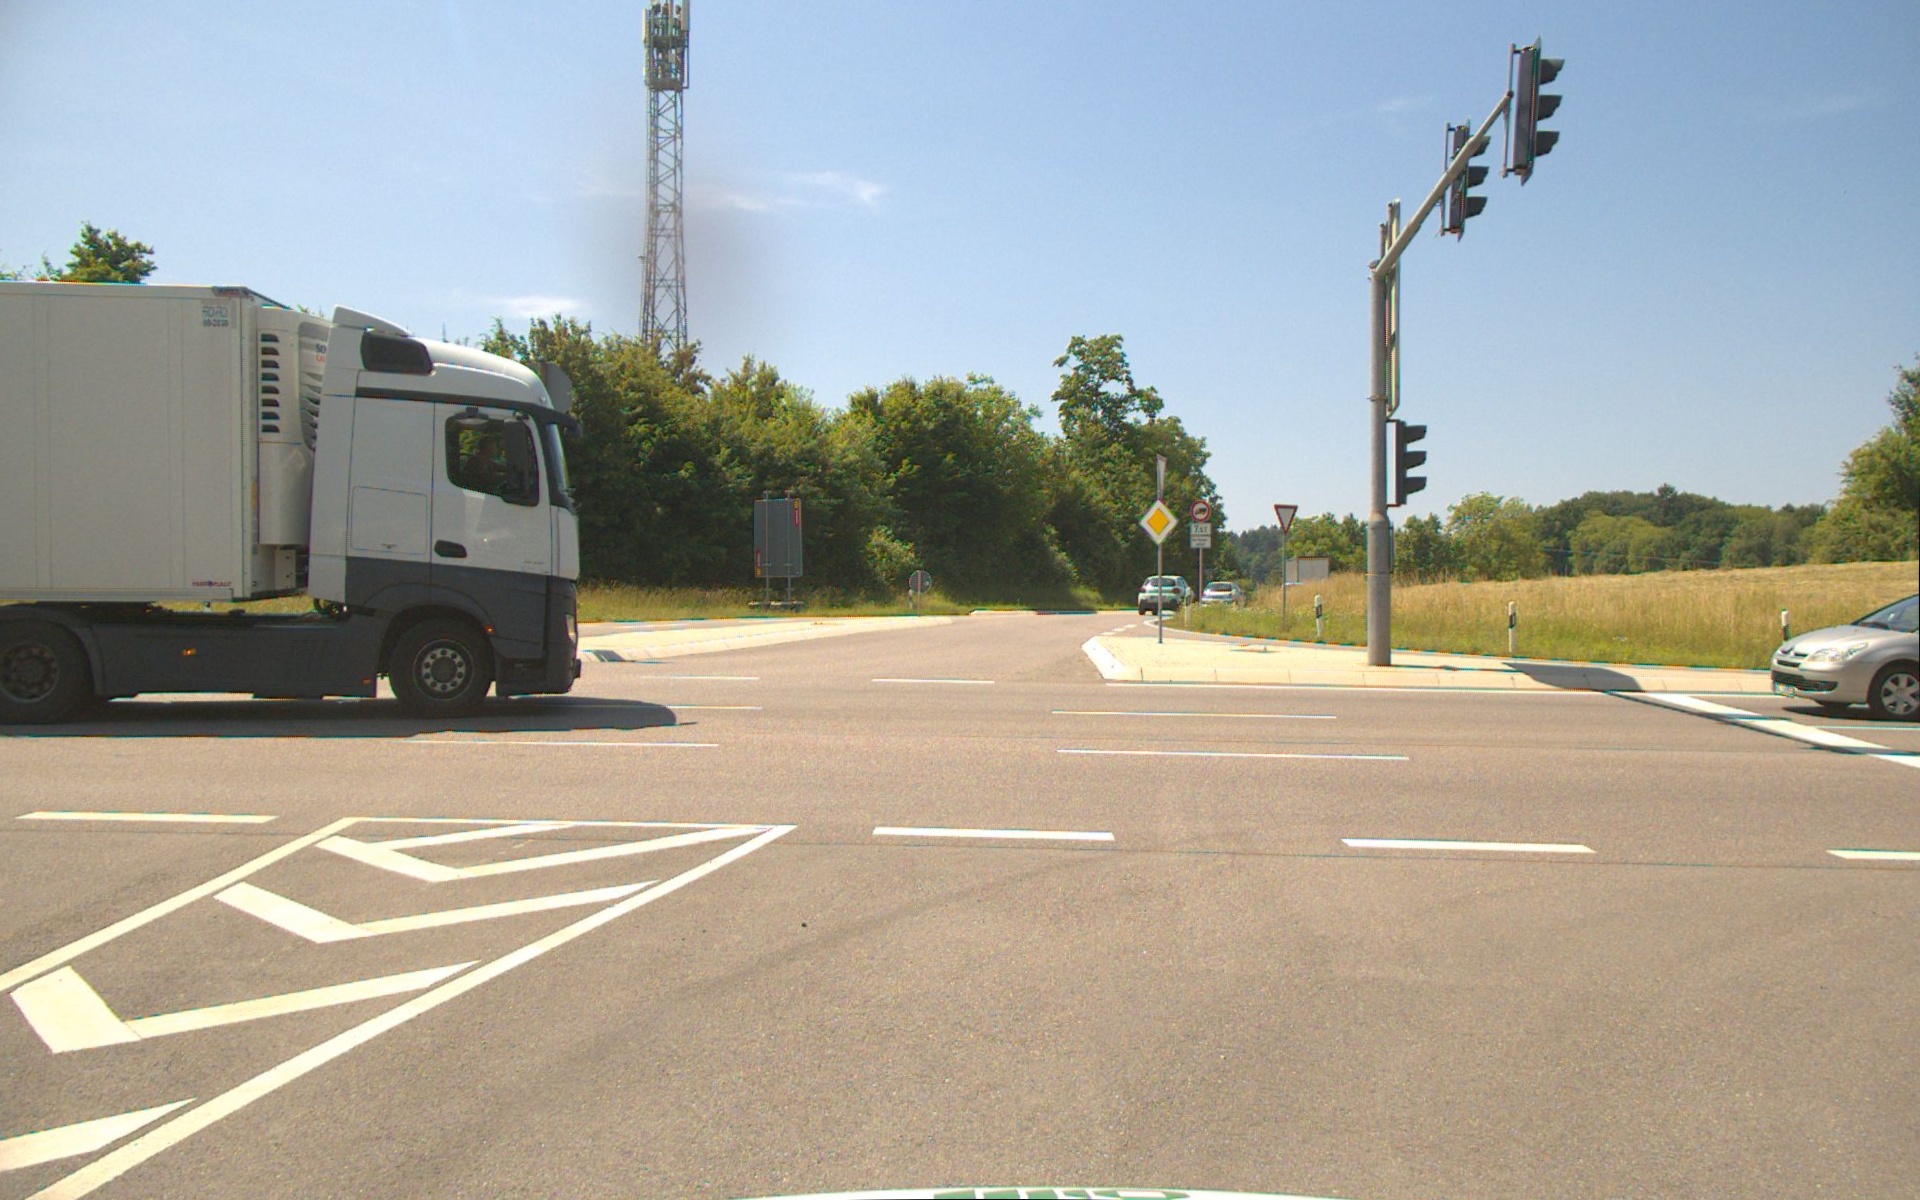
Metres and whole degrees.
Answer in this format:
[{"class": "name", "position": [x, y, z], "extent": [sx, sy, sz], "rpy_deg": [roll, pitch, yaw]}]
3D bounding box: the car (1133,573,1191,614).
[{"class": "car", "position": [7.738, -0.277, 63.194], "extent": [1.692, 1.428, 3.990], "rpy_deg": [2, 2, 14]}]

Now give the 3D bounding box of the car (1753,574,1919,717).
[{"class": "car", "position": [11.504, 0.508, 18.850], "extent": [4.069, 1.495, 1.731], "rpy_deg": [1, 2, 4]}]

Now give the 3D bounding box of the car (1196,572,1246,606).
[{"class": "car", "position": [12.089, -0.520, 76.442], "extent": [1.774, 1.437, 3.786], "rpy_deg": [1, 2, 16]}]

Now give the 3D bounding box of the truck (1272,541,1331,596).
[{"class": "truck", "position": [28.160, -2.575, 137.243], "extent": [3.059, 4.245, 16.698], "rpy_deg": [0, 1, 6]}]

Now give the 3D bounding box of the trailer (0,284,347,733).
[{"class": "trailer", "position": [-13.284, -0.914, 15.945], "extent": [13.528, 4.106, 2.658], "rpy_deg": [1, 1, -7]}]

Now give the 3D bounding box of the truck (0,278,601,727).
[{"class": "truck", "position": [-6.905, -0.915, 16.712], "extent": [6.141, 4.106, 2.657], "rpy_deg": [0, 1, -7]}]
